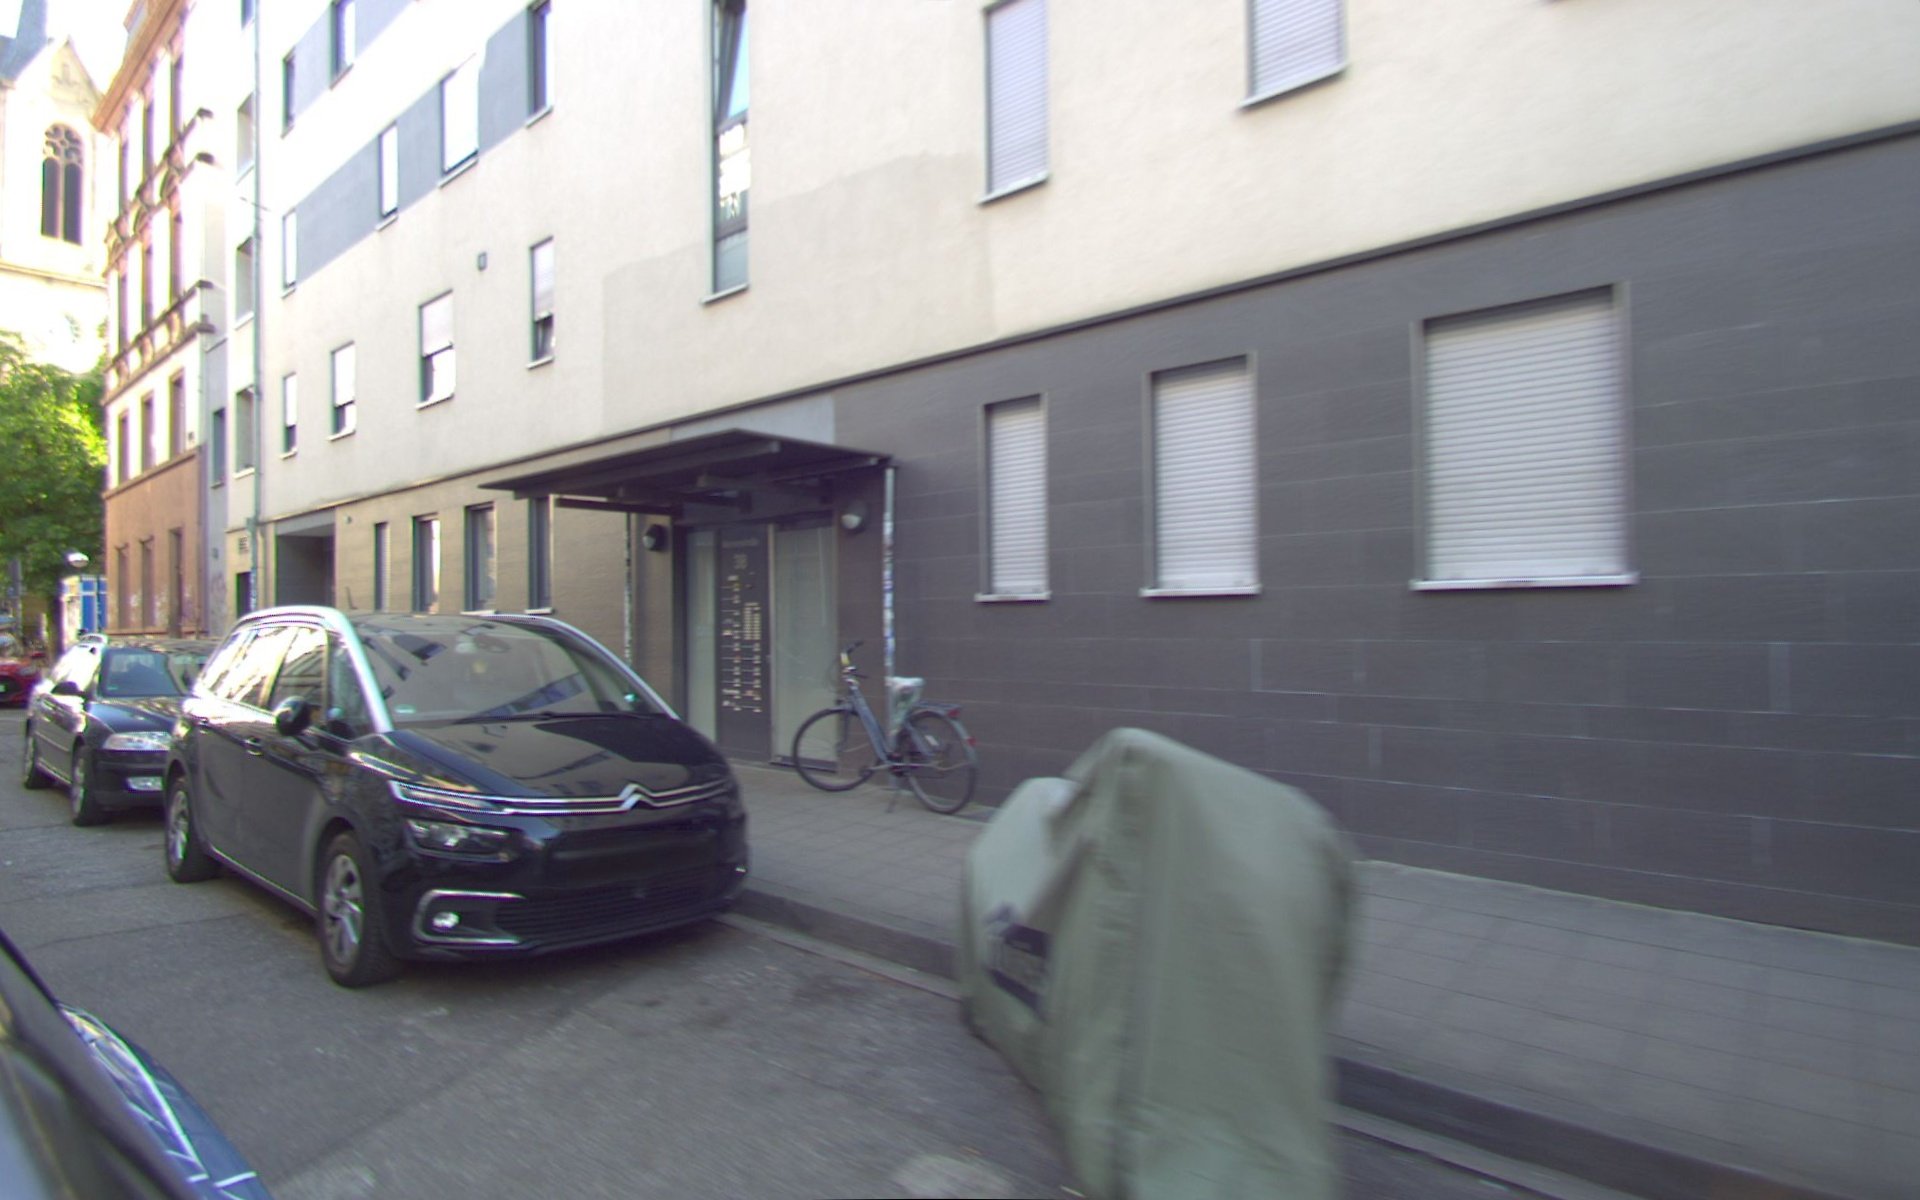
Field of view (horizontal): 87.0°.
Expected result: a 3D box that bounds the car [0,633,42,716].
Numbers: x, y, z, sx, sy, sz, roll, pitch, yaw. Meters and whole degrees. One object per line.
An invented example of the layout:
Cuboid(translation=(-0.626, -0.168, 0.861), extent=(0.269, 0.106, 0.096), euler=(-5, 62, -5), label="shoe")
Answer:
Cuboid(translation=(-19.574, 1.392, 19.900), extent=(3.867, 1.534, 1.732), euler=(-1, -5, 41), label="car")

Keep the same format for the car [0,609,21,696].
Cuboid(translation=(-23.473, 1.239, 23.508), extent=(5.295, 1.893, 1.999), euler=(-2, -1, 42), label="car")

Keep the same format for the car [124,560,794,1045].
Cuboid(translation=(-2.959, 0.824, 5.538), extent=(4.242, 1.663, 1.699), euler=(-3, -5, 40), label="car")

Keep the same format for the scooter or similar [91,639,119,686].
Cuboid(translation=(-22.918, 1.657, 27.115), extent=(1.391, 1.226, 0.344), euler=(-1, -1, 41), label="scooter or similar")

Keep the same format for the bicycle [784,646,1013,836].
Cuboid(translation=(-0.475, 0.916, 7.081), extent=(1.772, 1.173, 0.484), euler=(-2, -4, 42), label="bicycle")

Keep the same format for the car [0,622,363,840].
Cuboid(translation=(-7.166, 1.038, 9.074), extent=(4.495, 1.490, 1.699), euler=(-3, -5, 40), label="car")

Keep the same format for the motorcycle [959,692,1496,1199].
Cuboid(translation=(0.537, 0.949, 3.025), extent=(0.779, 1.262, 2.111), euler=(1, -3, -8), label="motorcycle")

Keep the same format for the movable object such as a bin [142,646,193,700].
Cuboid(translation=(-16.607, 1.519, 21.222), extent=(0.748, 1.075, 0.653), euler=(-1, -1, -30), label="movable object such as a bin")

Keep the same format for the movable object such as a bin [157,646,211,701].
Cuboid(translation=(-15.875, 1.503, 20.718), extent=(0.501, 1.075, 0.728), euler=(-1, -1, 9), label="movable object such as a bin")
